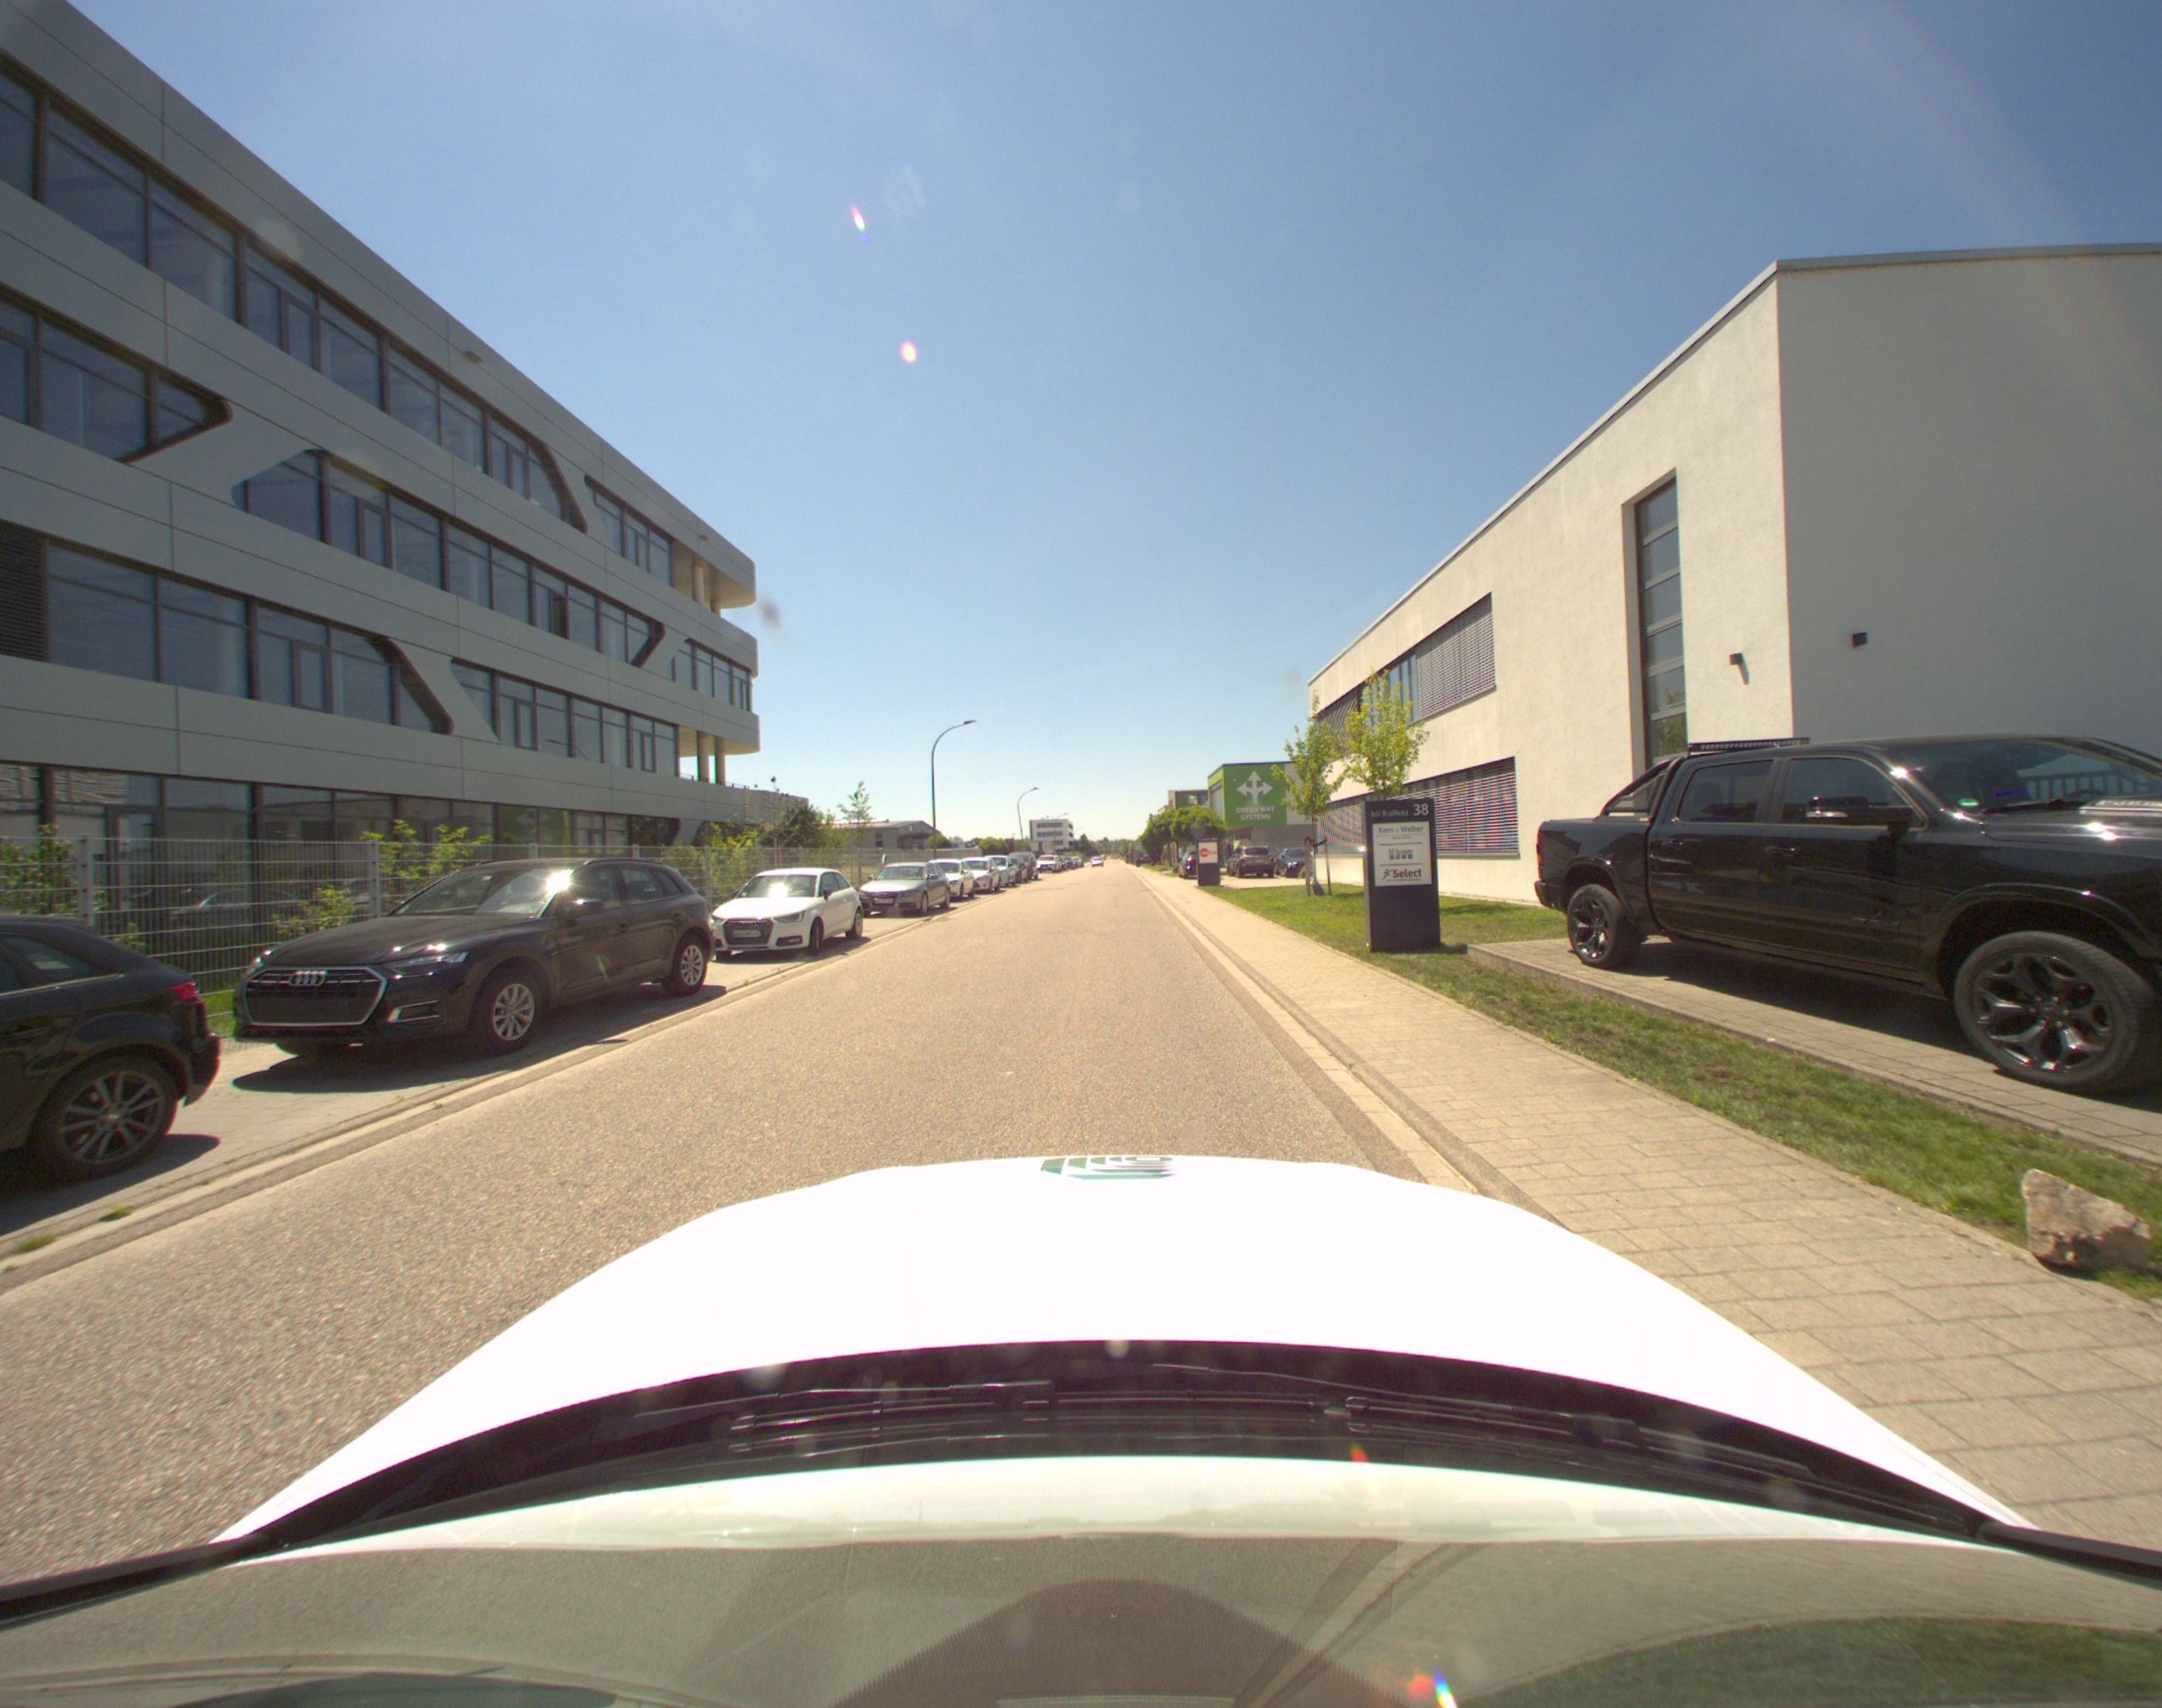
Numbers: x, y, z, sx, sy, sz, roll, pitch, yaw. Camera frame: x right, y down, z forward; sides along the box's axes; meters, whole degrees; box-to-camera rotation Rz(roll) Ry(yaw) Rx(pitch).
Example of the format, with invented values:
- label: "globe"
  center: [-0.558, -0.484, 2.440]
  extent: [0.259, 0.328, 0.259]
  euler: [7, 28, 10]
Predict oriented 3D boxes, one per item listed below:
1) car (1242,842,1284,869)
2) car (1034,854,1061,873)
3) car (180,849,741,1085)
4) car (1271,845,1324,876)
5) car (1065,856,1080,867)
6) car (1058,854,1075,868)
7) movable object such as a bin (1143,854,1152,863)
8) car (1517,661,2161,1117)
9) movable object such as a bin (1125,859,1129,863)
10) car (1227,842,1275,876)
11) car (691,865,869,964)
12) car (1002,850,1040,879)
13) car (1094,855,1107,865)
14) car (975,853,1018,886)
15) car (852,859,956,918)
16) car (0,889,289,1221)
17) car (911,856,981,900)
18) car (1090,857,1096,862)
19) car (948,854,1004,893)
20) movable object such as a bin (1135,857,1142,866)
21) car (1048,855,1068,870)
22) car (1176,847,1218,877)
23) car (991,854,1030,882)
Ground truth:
- label: "car"
  center: [10.984, 0.119, 49.317]
  extent: [1.731, 1.398, 4.056]
  euler: [-2, -2, 2]
- label: "car"
  center: [-2.865, 0.787, 70.813]
  extent: [1.779, 1.542, 4.369]
  euler: [-2, 0, 4]
- label: "car"
  center: [-5.564, 0.822, 8.377]
  extent: [1.762, 1.651, 4.856]
  euler: [-2, 1, 4]
- label: "car"
  center: [10.830, 0.296, 41.033]
  extent: [1.716, 1.449, 4.024]
  euler: [-1, 0, 2]
- label: "car"
  center: [-1.198, 1.065, 113.228]
  extent: [1.850, 1.481, 4.231]
  euler: [-1, 0, 2]
- label: "car"
  center: [-1.715, 0.877, 97.078]
  extent: [1.784, 1.607, 4.464]
  euler: [-1, 0, 1]
- label: "movable object such as a bin"
  center: [11.222, 0.780, 137.791]
  extent: [1.329, 1.459, 0.949]
  euler: [-3, -1, 1]
- label: "car"
  center: [5.787, 0.026, 6.078]
  extent: [1.987, 2.013, 5.801]
  euler: [-3, 2, 1]
- label: "movable object such as a bin"
  center: [10.146, 1.502, 179.623]
  extent: [0.549, 0.928, 0.523]
  euler: [-7, 0, 6]
- label: "car"
  center: [8.602, 0.241, 41.455]
  extent: [1.716, 1.633, 4.024]
  euler: [-1, 0, 2]
- label: "car"
  center: [-5.153, 0.955, 14.553]
  extent: [1.694, 1.386, 3.936]
  euler: [-2, 1, 0]
- label: "car"
  center: [-3.654, 0.634, 50.591]
  extent: [1.795, 1.719, 4.625]
  euler: [-1, 0, 2]
- label: "car"
  center: [2.937, 0.855, 121.577]
  extent: [1.697, 1.411, 4.786]
  euler: [-4, 0, 2]
- label: "car"
  center: [-4.182, 0.752, 40.737]
  extent: [1.628, 1.536, 3.659]
  euler: [-1, 0, 1]
- label: "car"
  center: [-4.906, 0.912, 23.235]
  extent: [1.677, 1.386, 4.643]
  euler: [-2, 1, 3]
- label: "car"
  center: [-5.922, 1.004, 3.048]
  extent: [1.764, 1.466, 4.185]
  euler: [-2, 1, 0]
- label: "car"
  center: [-4.850, 0.833, 29.900]
  extent: [1.697, 1.444, 4.441]
  euler: [-1, 0, 1]
- label: "car"
  center: [3.327, 1.559, 227.869]
  extent: [1.461, 1.490, 3.209]
  euler: [-2, 0, 3]
- label: "car"
  center: [-4.432, 0.781, 35.026]
  extent: [1.697, 1.536, 4.573]
  euler: [-1, 0, 1]
- label: "movable object such as a bin"
  center: [6.441, 0.829, 91.305]
  extent: [0.548, 0.928, 0.523]
  euler: [-6, -1, 12]
- label: "car"
  center: [-2.334, 0.844, 83.532]
  extent: [1.756, 1.517, 4.381]
  euler: [-1, 0, 2]
- label: "car"
  center: [5.928, 0.405, 41.891]
  extent: [1.685, 1.428, 4.248]
  euler: [-1, 0, 2]
- label: "car"
  center: [-3.919, 0.763, 45.973]
  extent: [1.628, 1.500, 3.975]
  euler: [-1, 0, 3]
